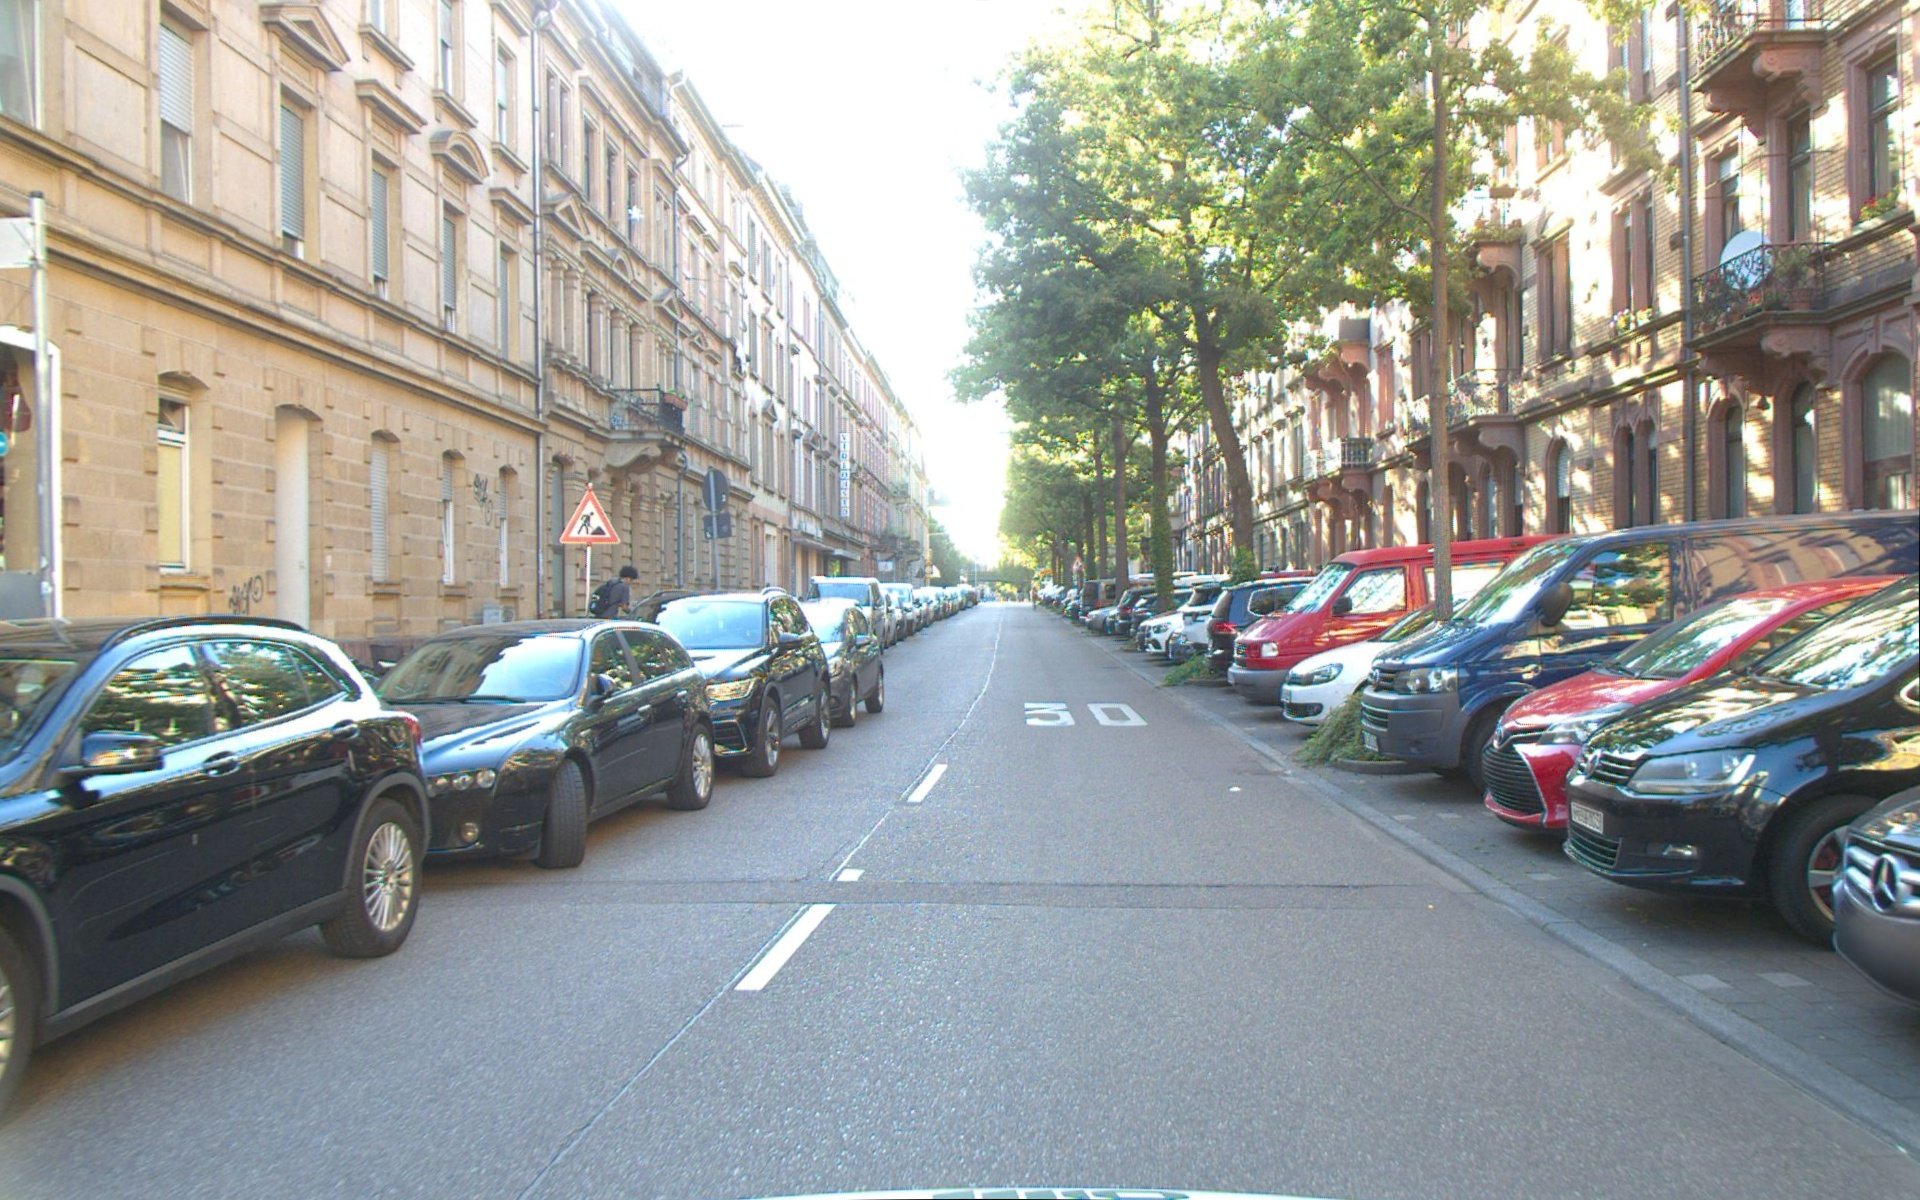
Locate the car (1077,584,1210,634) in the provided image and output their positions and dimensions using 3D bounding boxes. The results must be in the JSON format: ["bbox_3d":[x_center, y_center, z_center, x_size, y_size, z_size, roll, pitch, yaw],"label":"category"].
[{"bbox_3d":[6.134,0.300,55.584,4.137,1.428,1.834,-3,0,-3],"label":"car"}]

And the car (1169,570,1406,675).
[{"bbox_3d":[5.934,0.402,30.302,3.928,1.656,1.805,-3,0,0],"label":"car"}]

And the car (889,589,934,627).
[{"bbox_3d":[-2.050,0.327,70.857,1.722,1.498,4.059,-2,0,0],"label":"car"}]

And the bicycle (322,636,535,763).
[{"bbox_3d":[-4.967,0.918,15.496,1.828,1.148,0.529,0,-1,4],"label":"bicycle"}]

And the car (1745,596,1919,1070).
[{"bbox_3d":[5.280,0.619,5.197,4.685,1.437,1.852,-3,0,4],"label":"car"}]

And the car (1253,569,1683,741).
[{"bbox_3d":[5.302,0.559,17.674,3.970,1.536,1.879,-3,0,1],"label":"car"}]

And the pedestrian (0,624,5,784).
[{"bbox_3d":[-7.769,0.808,12.445,0.710,1.235,0.757,-1,0,-1],"label":"pedestrian"}]

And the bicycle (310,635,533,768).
[{"bbox_3d":[-4.820,0.897,14.861,1.828,1.148,0.529,0,-1,4],"label":"bicycle"}]

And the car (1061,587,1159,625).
[{"bbox_3d":[6.143,0.244,67.825,3.773,1.316,1.717,-3,0,-2],"label":"car"}]

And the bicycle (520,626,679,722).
[{"bbox_3d":[-4.428,0.908,20.371,1.828,1.148,0.528,0,-1,2],"label":"bicycle"}]

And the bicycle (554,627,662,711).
[{"bbox_3d":[-5.722,1.094,27.116,0.975,1.178,2.924,-2,1,3],"label":"bicycle"}]

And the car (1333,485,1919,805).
[{"bbox_3d":[5.610,0.318,12.963,4.918,2.253,1.993,-1,0,0],"label":"car"}]

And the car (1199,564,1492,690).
[{"bbox_3d":[5.840,0.403,25.449,4.098,1.656,1.838,-3,0,5],"label":"car"}]

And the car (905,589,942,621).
[{"bbox_3d":[-1.782,0.232,81.975,1.722,1.498,4.059,-2,0,0],"label":"car"}]

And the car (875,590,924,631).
[{"bbox_3d":[-2.331,0.383,64.756,1.722,1.498,4.059,-2,0,0],"label":"car"}]

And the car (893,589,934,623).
[{"bbox_3d":[-2.100,0.254,75.727,1.722,1.498,4.059,-2,0,0],"label":"car"}]

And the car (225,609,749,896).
[{"bbox_3d":[-2.851,0.842,11.166,1.721,1.477,4.554,-2,0,7],"label":"car"}]

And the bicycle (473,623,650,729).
[{"bbox_3d":[-4.416,0.833,18.388,1.828,1.148,0.528,0,-1,2],"label":"bicycle"}]

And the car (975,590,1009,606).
[{"bbox_3d":[3.830,-0.202,198.502,3.902,1.891,1.753,0,0,10],"label":"car"}]

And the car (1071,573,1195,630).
[{"bbox_3d":[6.401,0.049,61.218,4.156,1.826,1.826,-3,0,-18],"label":"car"}]

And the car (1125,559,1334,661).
[{"bbox_3d":[6.090,0.202,37.690,4.354,1.957,1.850,-4,1,-1],"label":"car"}]

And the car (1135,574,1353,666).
[{"bbox_3d":[5.970,0.402,35.129,4.255,1.583,1.850,-4,1,1],"label":"car"}]

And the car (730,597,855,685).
[{"bbox_3d":[-3.196,0.750,32.244,1.721,1.527,4.062,-2,0,4],"label":"car"}]

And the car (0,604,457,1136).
[{"bbox_3d":[-3.495,0.803,5.846,1.721,1.514,4.142,-2,0,7],"label":"car"}]

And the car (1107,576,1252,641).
[{"bbox_3d":[6.303,0.250,47.846,3.928,1.635,1.734,-3,0,1],"label":"car"}]

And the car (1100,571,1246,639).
[{"bbox_3d":[6.459,0.143,50.493,4.134,1.807,1.835,-3,0,0],"label":"car"}]

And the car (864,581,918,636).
[{"bbox_3d":[-2.457,0.273,59.889,1.722,1.874,4.530,-2,0,0],"label":"car"}]

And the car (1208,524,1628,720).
[{"bbox_3d":[5.543,0.257,20.424,4.581,2.069,1.878,-3,0,-2],"label":"car"}]

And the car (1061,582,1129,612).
[{"bbox_3d":[8.146,-0.180,99.823,3.777,1.601,1.715,-3,0,-7],"label":"car"}]

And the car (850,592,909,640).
[{"bbox_3d":[-2.630,0.498,54.934,1.722,1.493,4.000,1,1,0],"label":"car"}]

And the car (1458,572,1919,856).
[{"bbox_3d":[5.310,0.629,10.118,4.020,1.561,1.725,-1,0,2],"label":"car"}]

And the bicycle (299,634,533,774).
[{"bbox_3d":[-4.647,0.878,14.181,1.828,1.148,0.529,0,-1,4],"label":"bicycle"}]

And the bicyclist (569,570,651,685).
[{"bbox_3d":[-5.723,0.428,27.121,0.975,1.821,1.208,-2,1,3],"label":"bicyclist"}]

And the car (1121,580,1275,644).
[{"bbox_3d":[6.466,0.322,45.256,3.928,1.493,1.734,-3,0,1],"label":"car"}]

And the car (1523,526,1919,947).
[{"bbox_3d":[5.197,0.497,7.613,4.588,1.708,1.852,-3,-1,7],"label":"car"}]

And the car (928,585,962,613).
[{"bbox_3d":[-0.888,-0.029,99.444,1.952,1.512,4.000,-1,-1,1],"label":"car"}]

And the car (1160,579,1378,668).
[{"bbox_3d":[6.060,0.457,32.753,3.928,1.459,1.795,-4,0,1],"label":"car"}]

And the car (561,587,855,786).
[{"bbox_3d":[-2.288,0.717,16.270,1.721,1.628,4.554,-2,0,6],"label":"car"}]

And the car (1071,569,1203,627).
[{"bbox_3d":[6.907,-0.092,64.944,4.953,1.959,1.835,-3,0,1],"label":"car"}]

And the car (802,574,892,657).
[{"bbox_3d":[-2.824,0.357,42.512,1.794,1.977,5.261,1,0,2],"label":"car"}]

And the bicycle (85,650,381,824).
[{"bbox_3d":[-5.028,0.932,11.480,1.828,1.148,0.529,0,-1,4],"label":"bicycle"}]

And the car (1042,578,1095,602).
[{"bbox_3d":[8.009,-0.744,122.227,3.771,1.601,1.718,-3,0,1],"label":"car"}]

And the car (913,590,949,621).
[{"bbox_3d":[-1.496,0.264,86.742,1.722,1.498,4.059,-2,0,0],"label":"car"}]

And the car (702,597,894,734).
[{"bbox_3d":[-1.983,0.772,21.425,1.721,1.527,4.062,-2,0,5],"label":"car"}]

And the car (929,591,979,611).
[{"bbox_3d":[-0.453,0.106,129.802,1.958,1.512,3.988,-2,-2,34],"label":"car"}]

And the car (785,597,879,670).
[{"bbox_3d":[-2.797,0.707,36.805,1.559,1.501,3.701,1,0,4],"label":"car"}]

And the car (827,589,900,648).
[{"bbox_3d":[-2.778,0.493,48.311,1.717,1.636,4.385,1,0,2],"label":"car"}]
